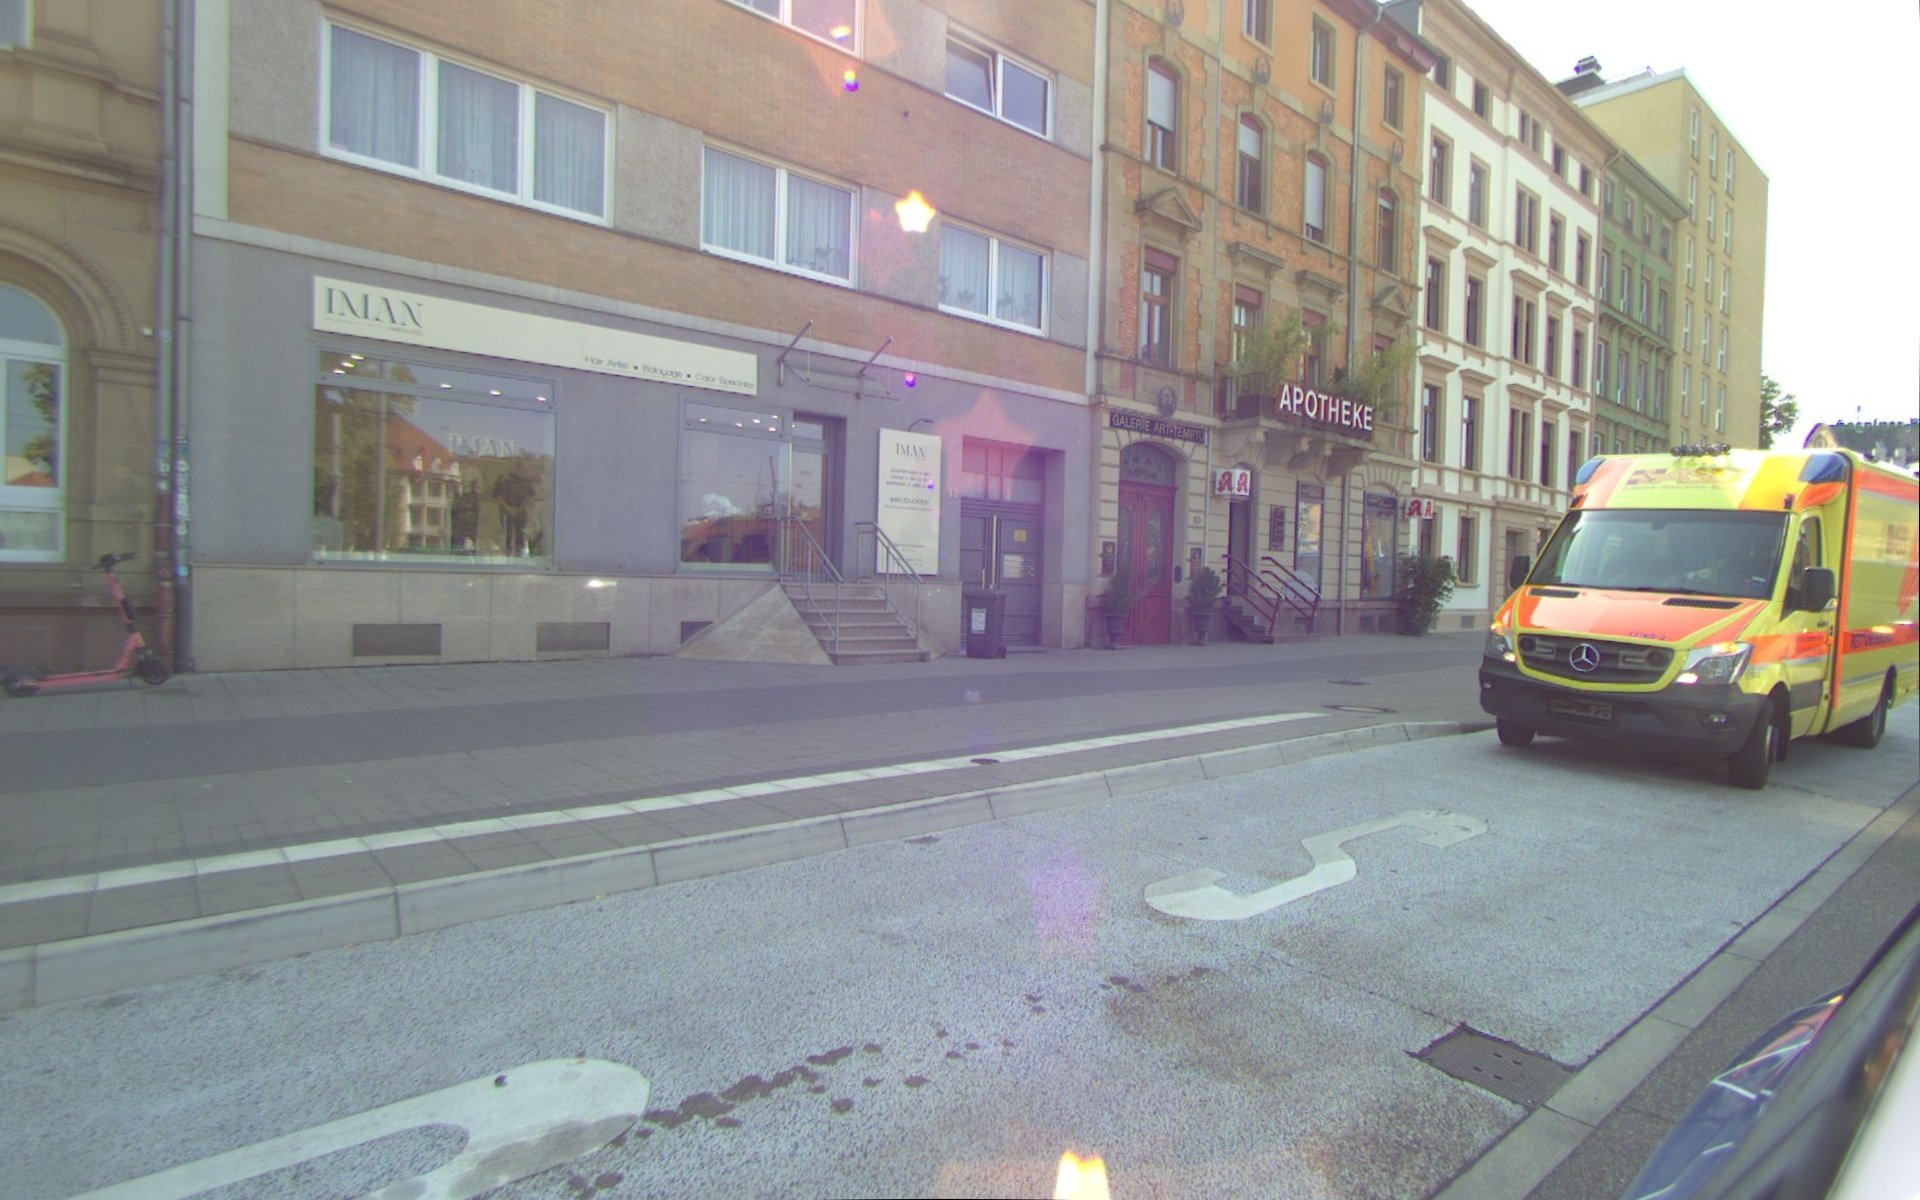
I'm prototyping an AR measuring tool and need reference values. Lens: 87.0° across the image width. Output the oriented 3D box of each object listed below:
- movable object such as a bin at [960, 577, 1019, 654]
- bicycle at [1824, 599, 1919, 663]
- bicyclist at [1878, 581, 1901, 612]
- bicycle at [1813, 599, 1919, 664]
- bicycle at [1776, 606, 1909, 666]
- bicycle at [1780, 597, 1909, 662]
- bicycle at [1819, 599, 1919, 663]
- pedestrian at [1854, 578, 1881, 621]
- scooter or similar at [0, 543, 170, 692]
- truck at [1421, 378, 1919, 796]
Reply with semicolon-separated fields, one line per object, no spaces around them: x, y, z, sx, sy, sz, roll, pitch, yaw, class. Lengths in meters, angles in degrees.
0.465;0.229;15.623;0.640;1.118;0.723;3;2;24;movable object such as a bin
18.630;0.606;20.379;0.427;1.235;1.841;1;0;-39;bicycle
49.338;-0.205;53.701;1.083;1.606;0.721;1;1;-40;bicyclist
17.947;0.592;19.821;0.427;1.219;1.841;1;0;-39;bicycle
16.939;0.666;19.460;0.645;1.070;1.841;0;0;-39;bicycle
17.361;0.553;19.905;0.539;1.219;1.841;1;0;-39;bicycle
18.284;0.603;20.087;0.427;1.219;1.841;1;0;-39;bicycle
35.300;-0.015;39.369;0.783;1.648;0.645;0;2;-42;pedestrian
-7.676;0.132;8.874;0.476;1.227;1.124;3;2;44;scooter or similar
7.188;-0.164;9.599;6.221;2.803;2.336;0;4;-37;truck
